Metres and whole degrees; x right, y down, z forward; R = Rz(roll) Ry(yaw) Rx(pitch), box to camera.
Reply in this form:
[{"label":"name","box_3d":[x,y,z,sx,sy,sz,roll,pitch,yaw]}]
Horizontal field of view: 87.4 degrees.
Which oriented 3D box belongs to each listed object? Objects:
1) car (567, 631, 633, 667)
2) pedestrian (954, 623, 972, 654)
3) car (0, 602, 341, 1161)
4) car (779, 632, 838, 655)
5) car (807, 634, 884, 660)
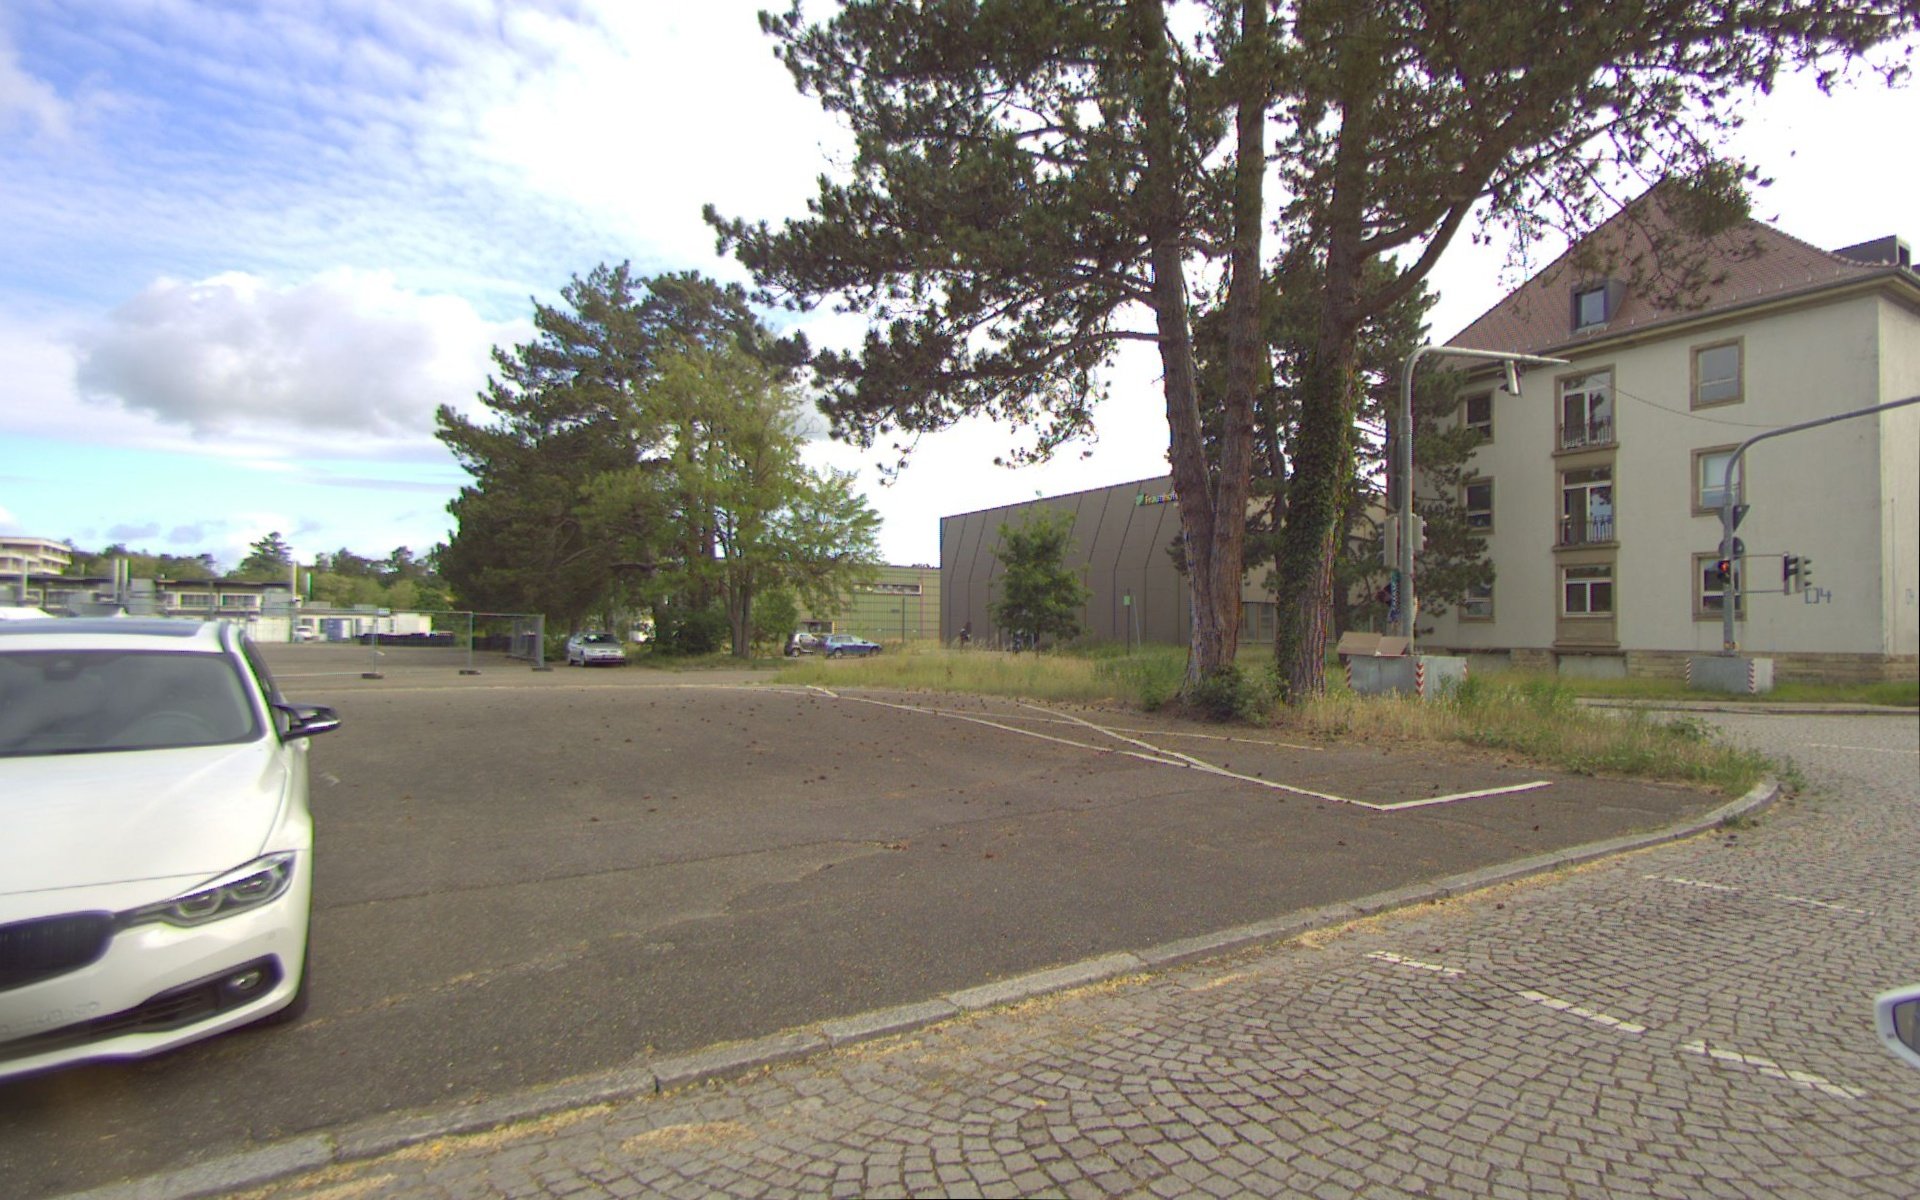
[{"label":"car","box_3d":[-14.924,1.991,41.527,1.679,1.410,3.964,2,-2,-33]},{"label":"pedestrian","box_3d":[0.191,2.549,66.454,0.890,2.040,0.915,1,-2,-27]},{"label":"car","box_3d":[-4.072,0.801,4.663,1.784,1.463,4.617,2,0,-35]},{"label":"car","box_3d":[-10.593,3.024,70.354,3.617,1.449,1.984,-1,-1,-30]},{"label":"car","box_3d":[-7.254,2.958,63.726,4.407,1.449,1.984,-1,-1,-31]}]
